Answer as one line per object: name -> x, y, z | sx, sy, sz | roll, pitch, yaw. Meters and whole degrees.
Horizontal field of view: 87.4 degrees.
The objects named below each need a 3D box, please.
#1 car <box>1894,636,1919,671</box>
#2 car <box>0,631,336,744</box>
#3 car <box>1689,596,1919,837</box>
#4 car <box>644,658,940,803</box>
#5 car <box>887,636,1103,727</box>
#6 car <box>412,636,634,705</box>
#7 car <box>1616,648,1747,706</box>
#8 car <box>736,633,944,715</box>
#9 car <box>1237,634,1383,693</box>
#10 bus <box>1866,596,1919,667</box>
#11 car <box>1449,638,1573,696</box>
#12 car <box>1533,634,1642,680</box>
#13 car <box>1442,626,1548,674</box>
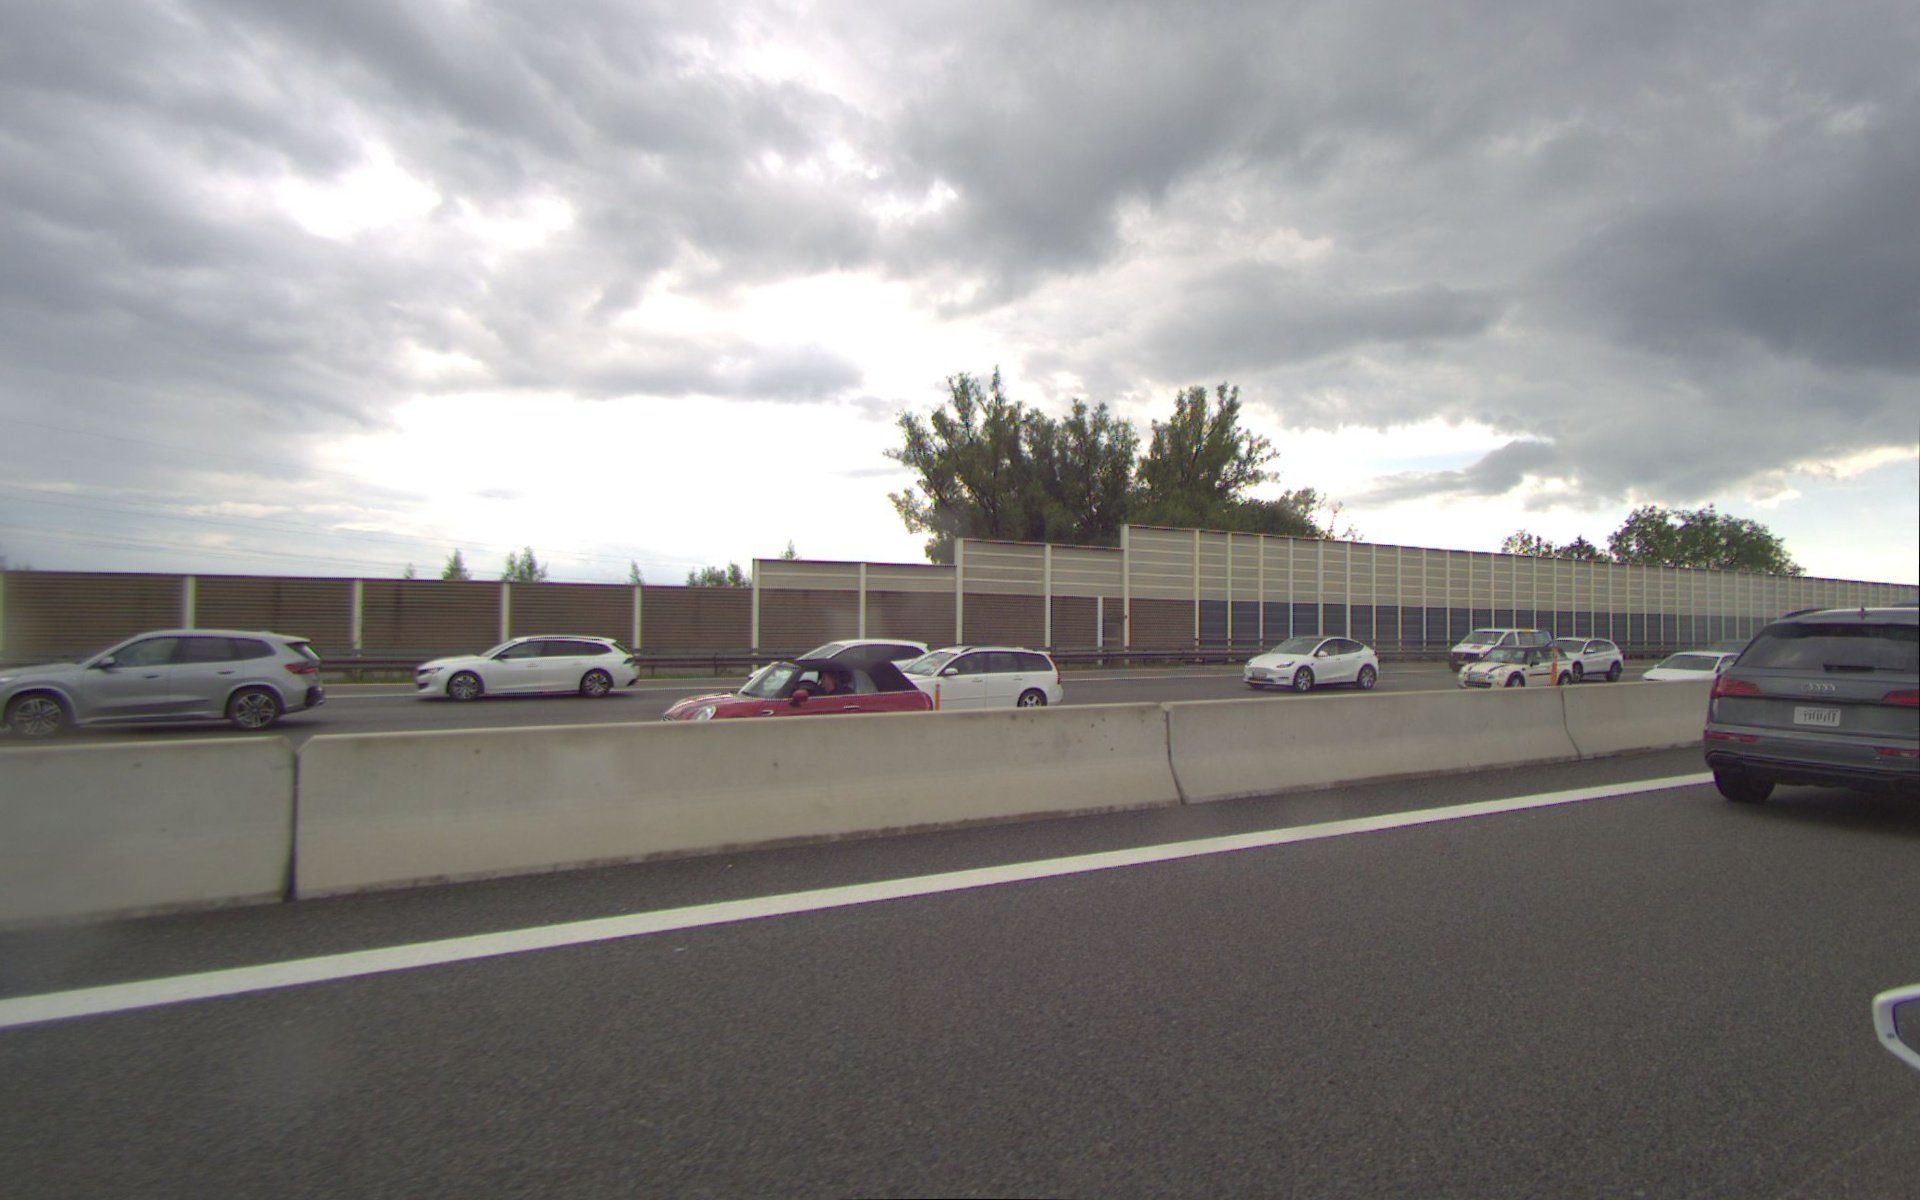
car -> 45.460, 2.467, 46.598 | 4.867, 1.546, 1.740 | 1, -1, -30
car -> -12.977, 1.339, 16.569 | 4.473, 1.652, 1.813 | 1, -1, -31
car -> 8.796, 0.871, 8.911 | 5.107, 1.713, 1.899 | 1, -1, -30
car -> -2.299, 1.683, 13.902 | 3.703, 1.652, 1.740 | 1, -1, -30
car -> 0.750, 1.566, 20.393 | 4.118, 1.652, 1.739 | 1, -1, -31
car -> -10.079, 1.565, 23.261 | 4.522, 1.419, 1.854 | 1, -1, -32
car -> 19.521, 2.032, 27.161 | 3.532, 1.412, 1.565 | 1, -1, -30
car -> -2.659, 1.587, 22.603 | 4.342, 1.652, 1.739 | 1, -1, -31
car -> 10.676, 1.877, 30.554 | 4.593, 1.652, 1.738 | 1, -1, -32
bus -> 56.235, 1.815, 57.432 | 11.738, 3.808, 3.078 | 1, -1, -30
car -> 16.435, 1.954, 29.956 | 3.575, 1.601, 1.613 | 1, -1, -30
car -> 23.641, 2.101, 37.817 | 4.127, 1.632, 1.740 | 1, -1, -30
car -> 22.511, 2.046, 42.199 | 4.727, 1.918, 1.739 | 1, -1, -31
